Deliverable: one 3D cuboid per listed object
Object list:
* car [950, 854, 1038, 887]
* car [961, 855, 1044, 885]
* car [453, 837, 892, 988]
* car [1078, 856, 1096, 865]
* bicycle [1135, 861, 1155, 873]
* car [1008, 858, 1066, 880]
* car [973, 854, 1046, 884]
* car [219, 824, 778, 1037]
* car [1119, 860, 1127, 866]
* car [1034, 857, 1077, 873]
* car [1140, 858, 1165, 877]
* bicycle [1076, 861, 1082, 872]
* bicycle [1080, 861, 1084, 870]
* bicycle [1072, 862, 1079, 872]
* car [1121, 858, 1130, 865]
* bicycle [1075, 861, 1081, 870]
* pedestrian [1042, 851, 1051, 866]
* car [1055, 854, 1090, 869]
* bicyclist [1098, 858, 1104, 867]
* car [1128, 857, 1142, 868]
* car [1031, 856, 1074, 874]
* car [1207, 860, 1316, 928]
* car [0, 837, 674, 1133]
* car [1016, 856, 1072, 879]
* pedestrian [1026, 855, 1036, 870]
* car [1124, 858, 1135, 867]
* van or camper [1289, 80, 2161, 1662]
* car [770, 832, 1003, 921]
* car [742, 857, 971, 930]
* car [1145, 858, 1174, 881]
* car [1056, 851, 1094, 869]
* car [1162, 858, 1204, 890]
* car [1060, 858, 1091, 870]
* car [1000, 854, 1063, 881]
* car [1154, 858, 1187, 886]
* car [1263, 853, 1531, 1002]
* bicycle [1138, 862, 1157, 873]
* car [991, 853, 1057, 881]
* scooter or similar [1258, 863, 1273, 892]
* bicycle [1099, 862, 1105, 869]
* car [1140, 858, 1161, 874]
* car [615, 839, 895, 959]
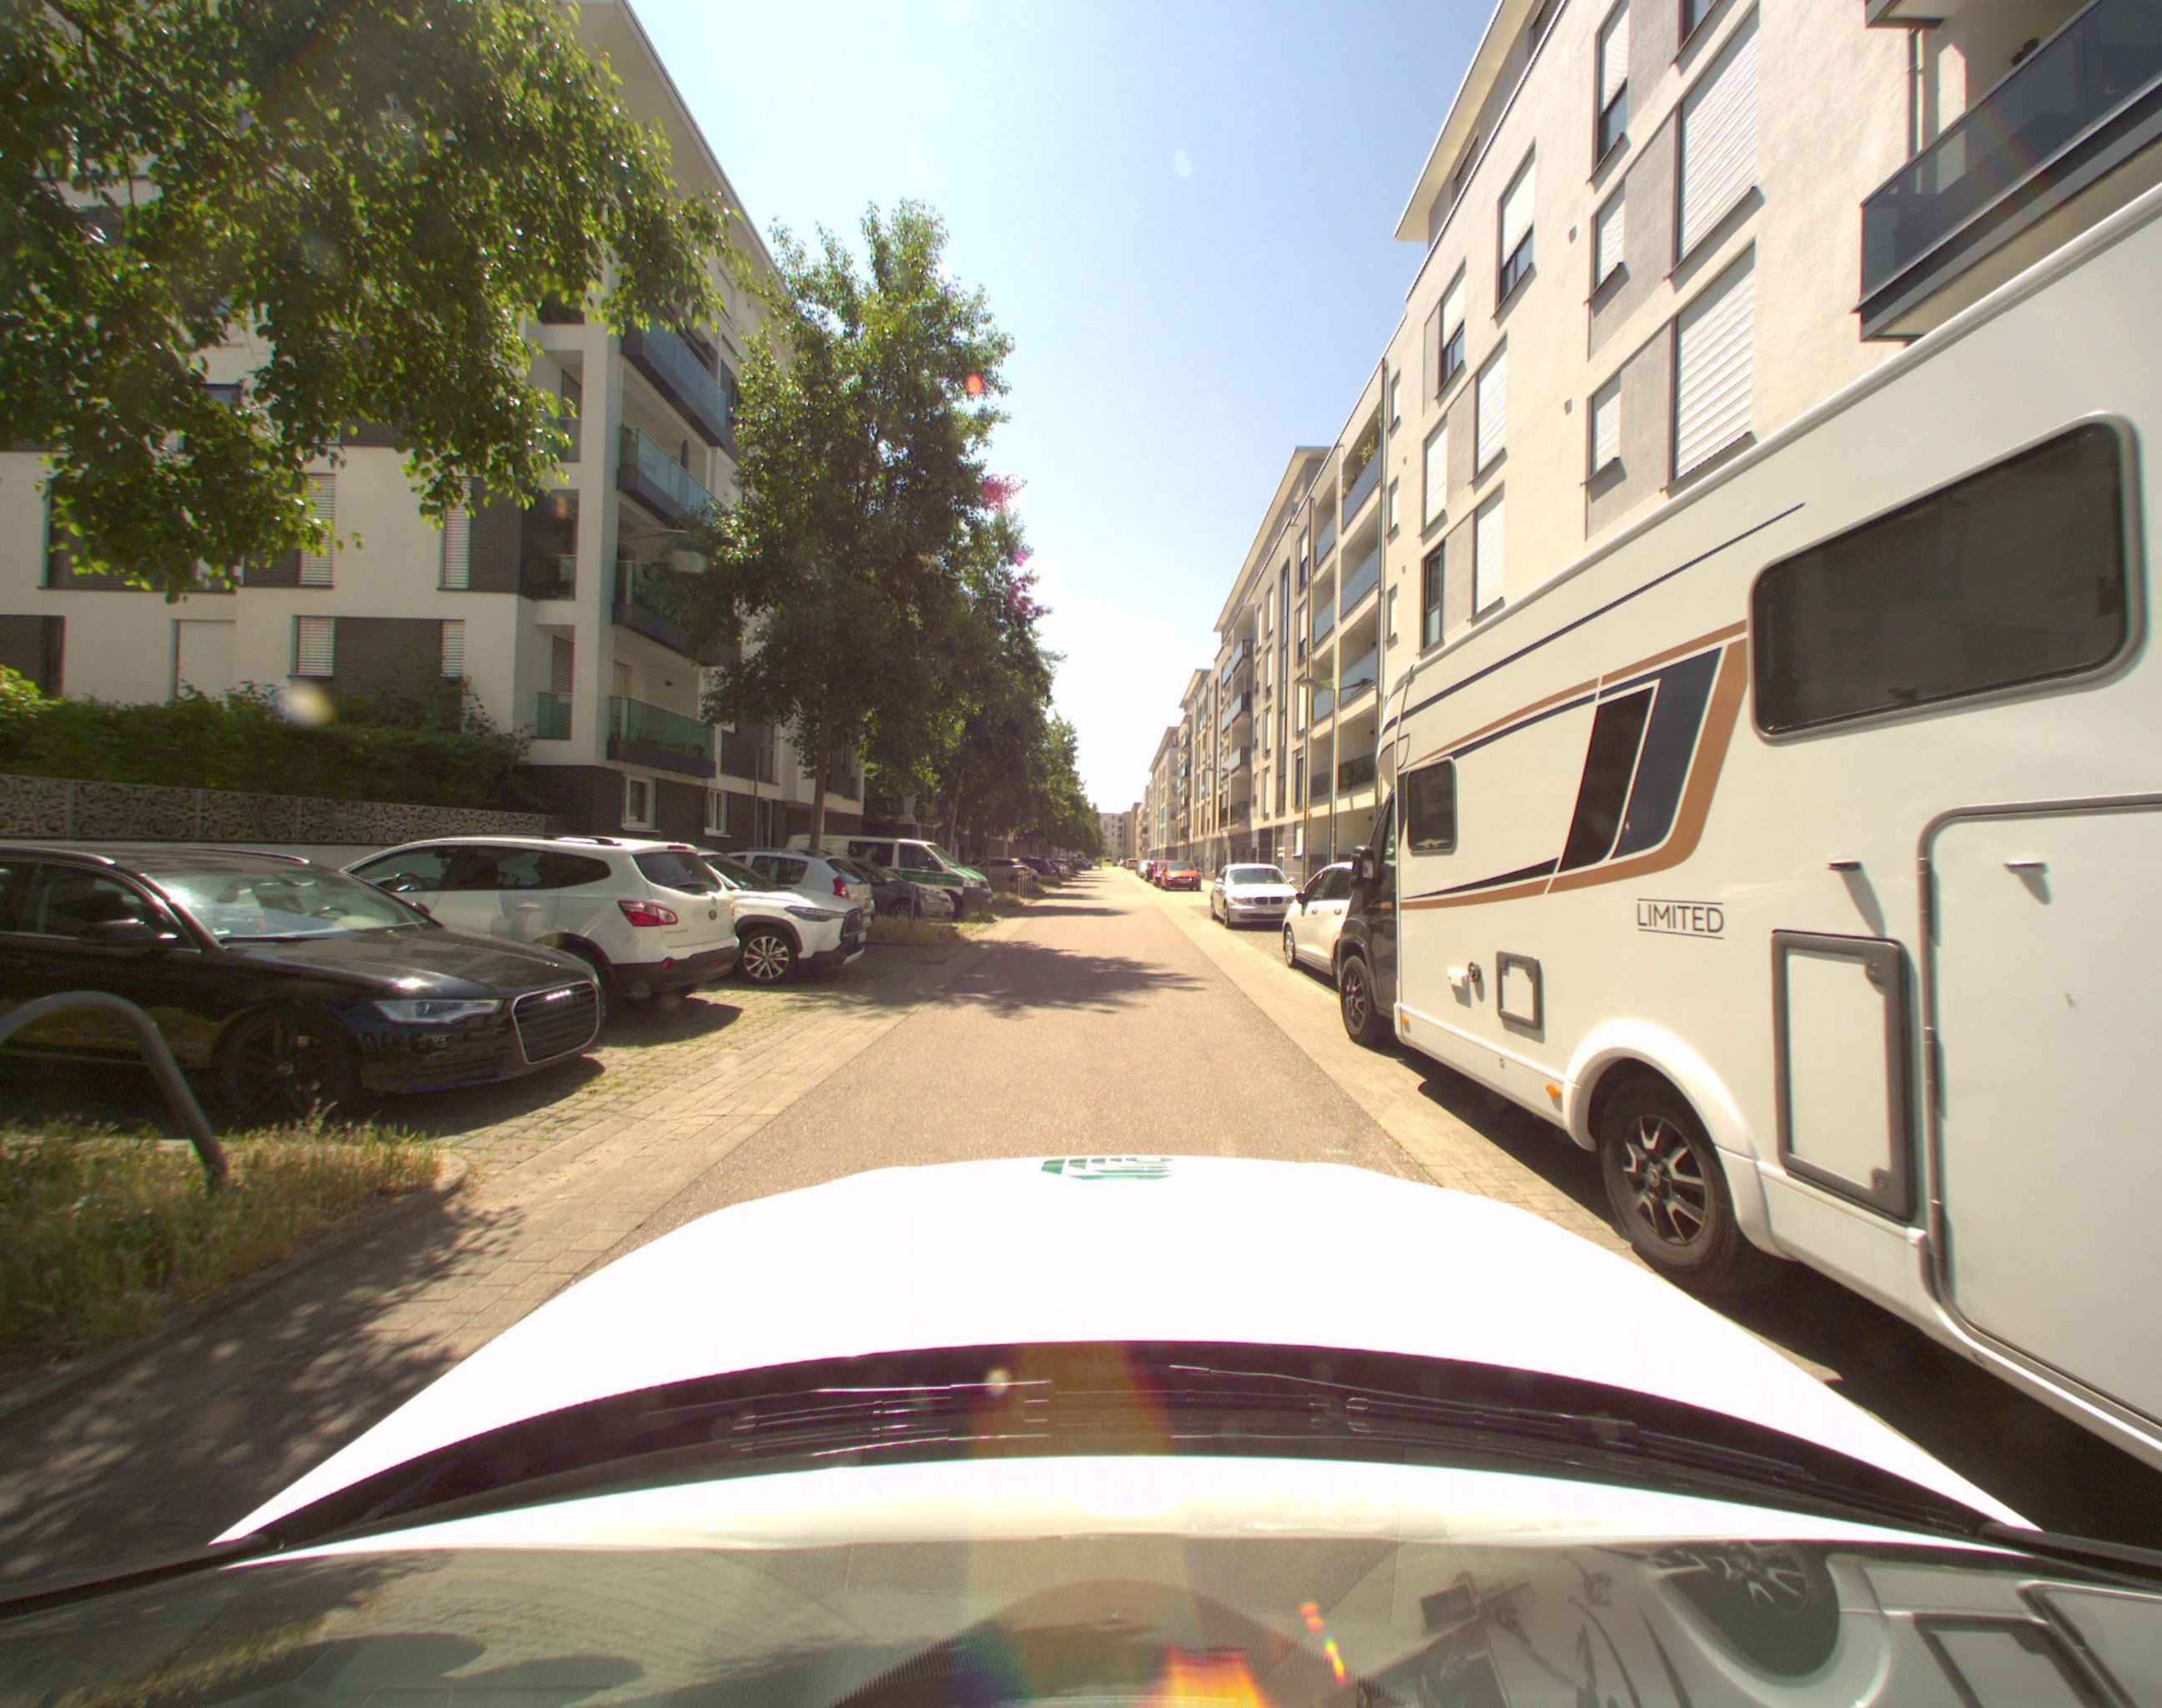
[{"bbox_3d":[-4.502,0.849,42.580,4.237,1.517,1.925,3,0,1],"label":"car"},{"bbox_3d":[-4.283,0.889,45.022,4.300,1.476,1.793,2,0,1],"label":"car"},{"bbox_3d":[-4.954,0.699,10.489,4.548,1.594,1.964,2,-1,-4],"label":"car"},{"bbox_3d":[1.337,1.596,187.620,3.964,2.014,2.005,0,-1,8],"label":"car"},{"bbox_3d":[6.496,1.305,82.381,1.911,1.133,0.611,-1,-1,11],"label":"bicycle"},{"bbox_3d":[-3.091,1.046,57.641,3.964,1.445,1.774,2,-1,-2],"label":"car"},{"bbox_3d":[-4.130,0.864,47.582,3.971,1.592,1.885,2,0,2],"label":"car"},{"bbox_3d":[-5.331,0.641,7.865,3.963,1.629,1.951,2,0,4],"label":"car"},{"bbox_3d":[11.403,2.422,218.990,1.986,1.717,4.001,0,0,1],"label":"car"},{"bbox_3d":[-2.498,1.112,80.136,4.169,1.486,1.957,1,-2,-2],"label":"car"},{"bbox_3d":[5.904,1.107,67.369,1.827,1.505,4.353,-1,0,2],"label":"car"},{"bbox_3d":[-0.215,1.364,87.514,0.371,1.180,1.814,0,0,-10],"label":"bicycle"},{"bbox_3d":[0.163,1.534,106.222,0.464,1.141,1.926,0,0,0],"label":"bicycle"},{"bbox_3d":[-0.576,1.391,87.496,0.434,1.128,1.972,0,0,-10],"label":"bicycle"},{"bbox_3d":[10.507,1.838,191.769,1.986,1.675,4.000,0,0,1],"label":"car"},{"bbox_3d":[-0.434,1.475,106.019,0.569,1.174,1.766,3,1,-5],"label":"bicycle"},{"bbox_3d":[-4.744,0.605,112.449,1.004,2.014,1.131,0,-1,5],"label":"pedestrian"},{"bbox_3d":[-1.245,1.174,123.367,5.125,2.119,2.312,1,0,1],"label":"car"},{"bbox_3d":[3.157,1.311,126.898,0.950,1.459,0.800,0,-1,1],"label":"bicyclist"},{"bbox_3d":[8.128,1.304,123.117,1.989,1.657,4.118,0,0,3],"label":"car"},{"bbox_3d":[-2.704,1.063,77.244,3.923,1.553,1.873,2,0,1],"label":"car"},{"bbox_3d":[4.167,0.868,19.513,1.838,1.416,4.429,1,-1,3],"label":"car"},{"bbox_3d":[-5.620,0.699,5.424,4.831,1.456,1.830,2,0,2],"label":"car"},{"bbox_3d":[-2.923,1.027,64.659,4.347,1.710,1.999,-1,0,-1],"label":"car"},{"bbox_3d":[-5.425,0.904,88.937,0.995,1.690,0.833,0,-1,4],"label":"pedestrian"},{"bbox_3d":[8.548,1.535,143.230,1.749,1.552,4.006,1,0,5],"label":"car"},{"bbox_3d":[3.250,0.076,4.230,2.430,2.906,7.827,1,-1,1],"label":"van or camper"},{"bbox_3d":[-4.799,0.528,20.672,5.319,2.111,2.189,0,0,3],"label":"car"},{"bbox_3d":[-4.768,0.825,17.824,4.406,1.490,2.000,0,0,0],"label":"car"},{"bbox_3d":[5.359,1.037,55.986,1.636,1.462,4.119,-1,0,2],"label":"car"},{"bbox_3d":[-0.907,1.003,128.796,6.001,2.816,2.606,0,-1,2],"label":"car"},{"bbox_3d":[5.025,0.956,40.678,1.731,1.487,4.261,-1,0,2],"label":"car"},{"bbox_3d":[-0.761,1.380,116.160,4.366,1.515,2.076,2,0,2],"label":"car"},{"bbox_3d":[-3.302,0.926,55.001,3.970,1.651,1.920,2,0,3],"label":"car"},{"bbox_3d":[5.028,0.964,46.218,1.589,1.486,3.677,-1,0,2],"label":"car"},{"bbox_3d":[3.724,0.767,10.505,1.801,1.505,4.260,-1,0,0],"label":"car"},{"bbox_3d":[6.537,1.309,80.072,1.781,1.104,0.746,-1,-1,-2],"label":"bicycle"},{"bbox_3d":[-3.645,0.845,52.483,3.972,1.629,1.934,2,0,2],"label":"car"},{"bbox_3d":[8.115,1.014,35.793,0.541,1.225,1.536,1,0,17],"label":"scooter or similar"},{"bbox_3d":[3.211,1.818,126.882,0.895,1.129,2.040,0,0,1],"label":"bicycle"},{"bbox_3d":[6.400,1.096,75.682,1.732,1.485,4.231,0,0,2],"label":"car"},{"bbox_3d":[-5.101,0.676,13.133,3.666,1.676,1.852,2,0,1],"label":"car"}]
